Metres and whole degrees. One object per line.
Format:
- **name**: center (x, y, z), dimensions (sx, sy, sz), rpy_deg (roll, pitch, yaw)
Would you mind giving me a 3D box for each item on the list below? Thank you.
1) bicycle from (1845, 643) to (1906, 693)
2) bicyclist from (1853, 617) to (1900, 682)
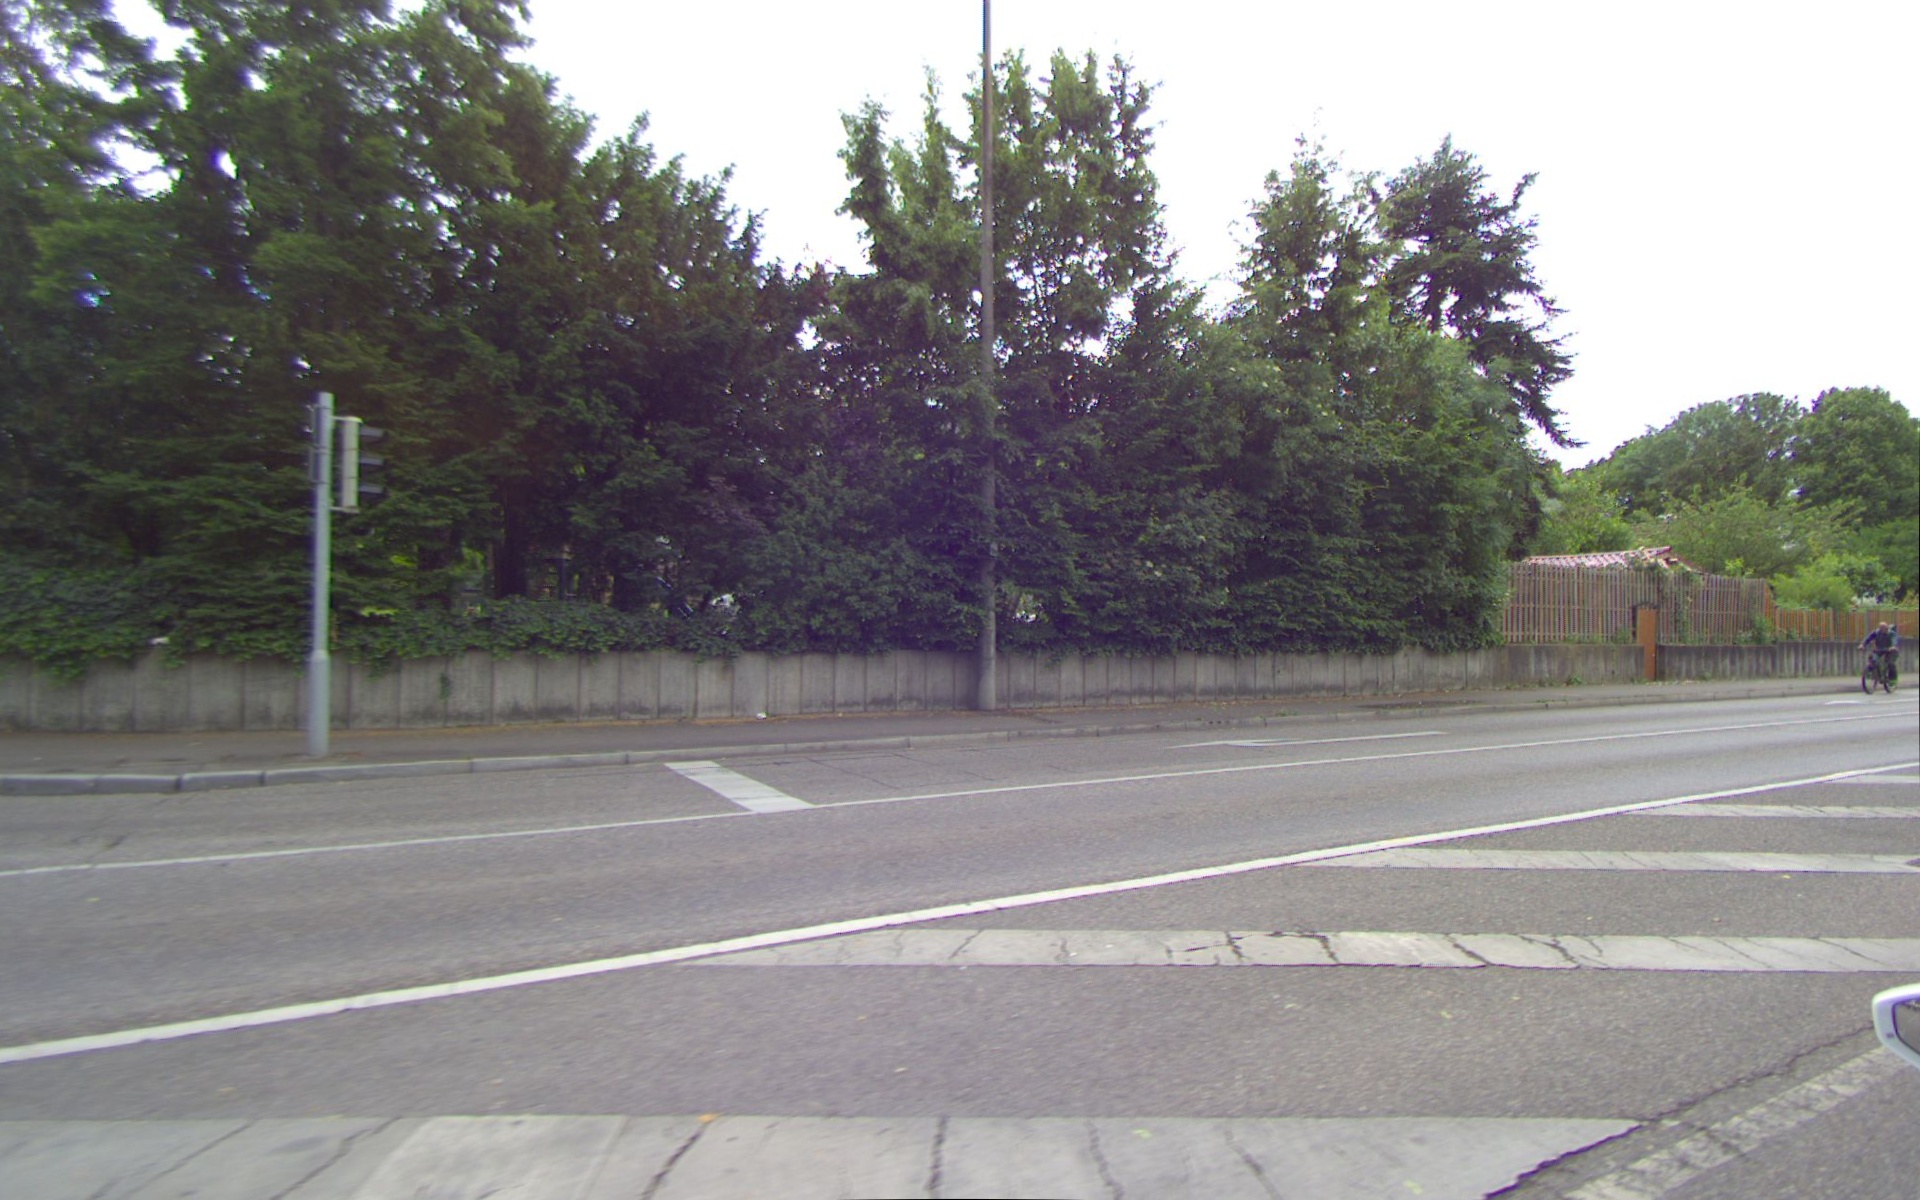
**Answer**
- **bicycle**: center (22.537, 1.654, 24.708), dimensions (2.126, 1.160, 0.638), rpy_deg (1, 0, -35)
- **bicyclist**: center (22.503, 1.199, 24.659), dimensions (0.968, 1.555, 0.638), rpy_deg (1, 0, -34)
